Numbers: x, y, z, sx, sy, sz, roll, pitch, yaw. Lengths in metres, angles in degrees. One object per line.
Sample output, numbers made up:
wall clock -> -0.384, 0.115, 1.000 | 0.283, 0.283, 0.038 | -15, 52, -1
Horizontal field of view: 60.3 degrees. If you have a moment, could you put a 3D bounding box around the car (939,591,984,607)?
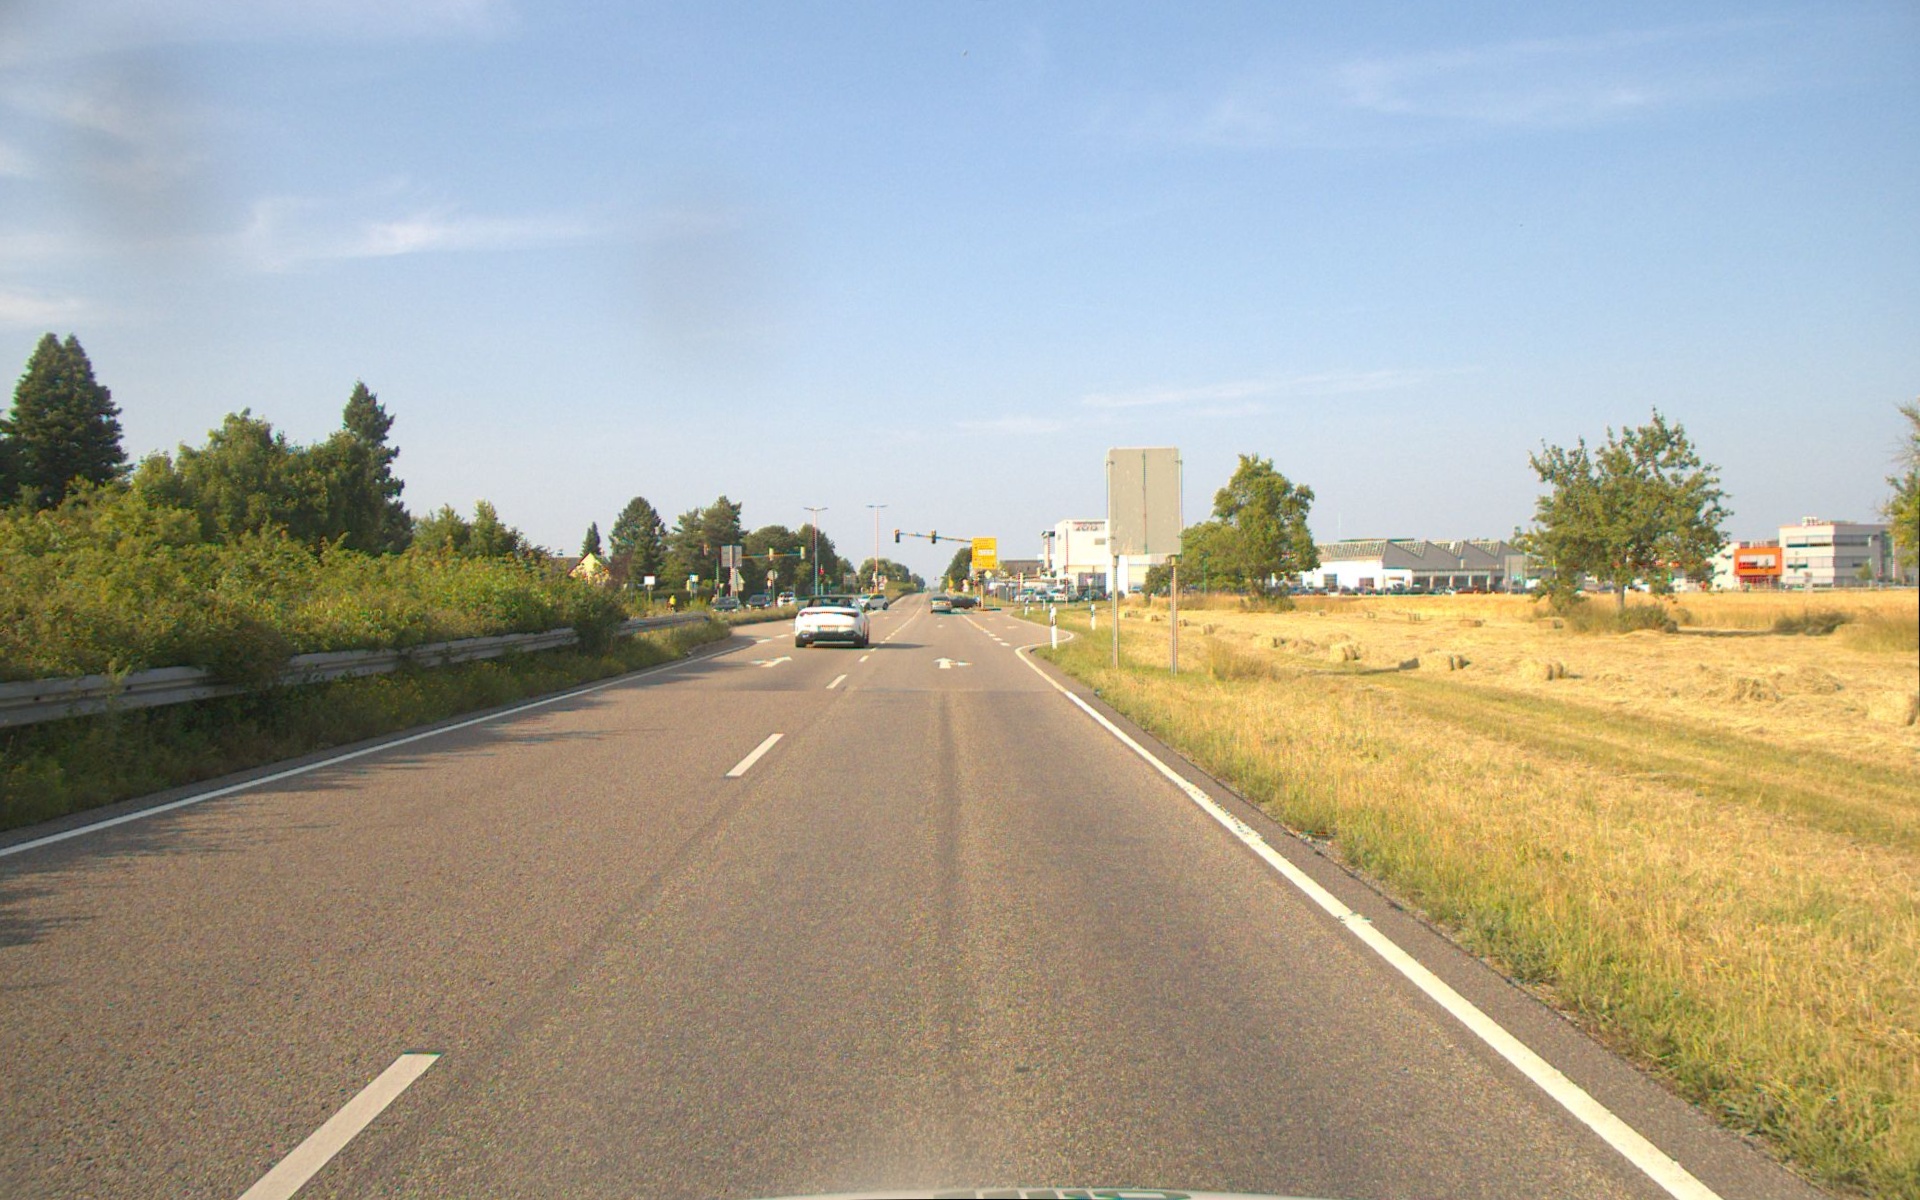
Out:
car -> 0.122, -0.091, 158.133 | 3.929, 1.432, 1.942 | 0, 1, -21

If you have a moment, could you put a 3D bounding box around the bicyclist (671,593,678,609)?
bicyclist -> -23.907, 0.068, 138.585 | 0.447, 1.375, 0.551 | -1, 0, -4

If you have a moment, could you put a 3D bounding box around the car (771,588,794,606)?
car -> -18.870, -0.333, 175.986 | 1.908, 1.831, 4.000 | 1, 1, 0

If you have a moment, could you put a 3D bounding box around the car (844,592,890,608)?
car -> -8.634, 0.018, 153.709 | 3.933, 1.432, 1.940 | 0, 1, -23

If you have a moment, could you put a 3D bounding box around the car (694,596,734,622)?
car -> -15.303, 0.563, 103.171 | 1.953, 1.512, 4.226 | 1, 1, -2

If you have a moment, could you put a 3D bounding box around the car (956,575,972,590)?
car -> 0.520, -2.231, 208.387 | 1.952, 1.787, 4.000 | 1, 1, 0

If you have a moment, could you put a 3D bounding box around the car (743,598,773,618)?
car -> -15.037, 0.580, 123.241 | 1.693, 1.432, 4.000 | 1, 1, 0

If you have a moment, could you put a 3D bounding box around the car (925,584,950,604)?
car -> -1.832, -0.495, 134.397 | 1.953, 1.512, 3.999 | 1, 1, -2

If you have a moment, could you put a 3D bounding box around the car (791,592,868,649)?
car -> -3.472, 0.517, 44.683 | 1.871, 1.447, 3.999 | 1, 1, -2

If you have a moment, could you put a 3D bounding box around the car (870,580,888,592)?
car -> -9.459, -1.660, 193.946 | 1.908, 1.432, 4.000 | 1, 1, 0

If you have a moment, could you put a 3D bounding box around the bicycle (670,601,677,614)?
bicycle -> -23.977, 0.598, 138.490 | 0.399, 1.032, 1.602 | -1, 1, -4

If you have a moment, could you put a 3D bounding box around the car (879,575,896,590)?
car -> -9.149, -2.212, 208.162 | 1.908, 1.803, 4.000 | 1, 1, 0
